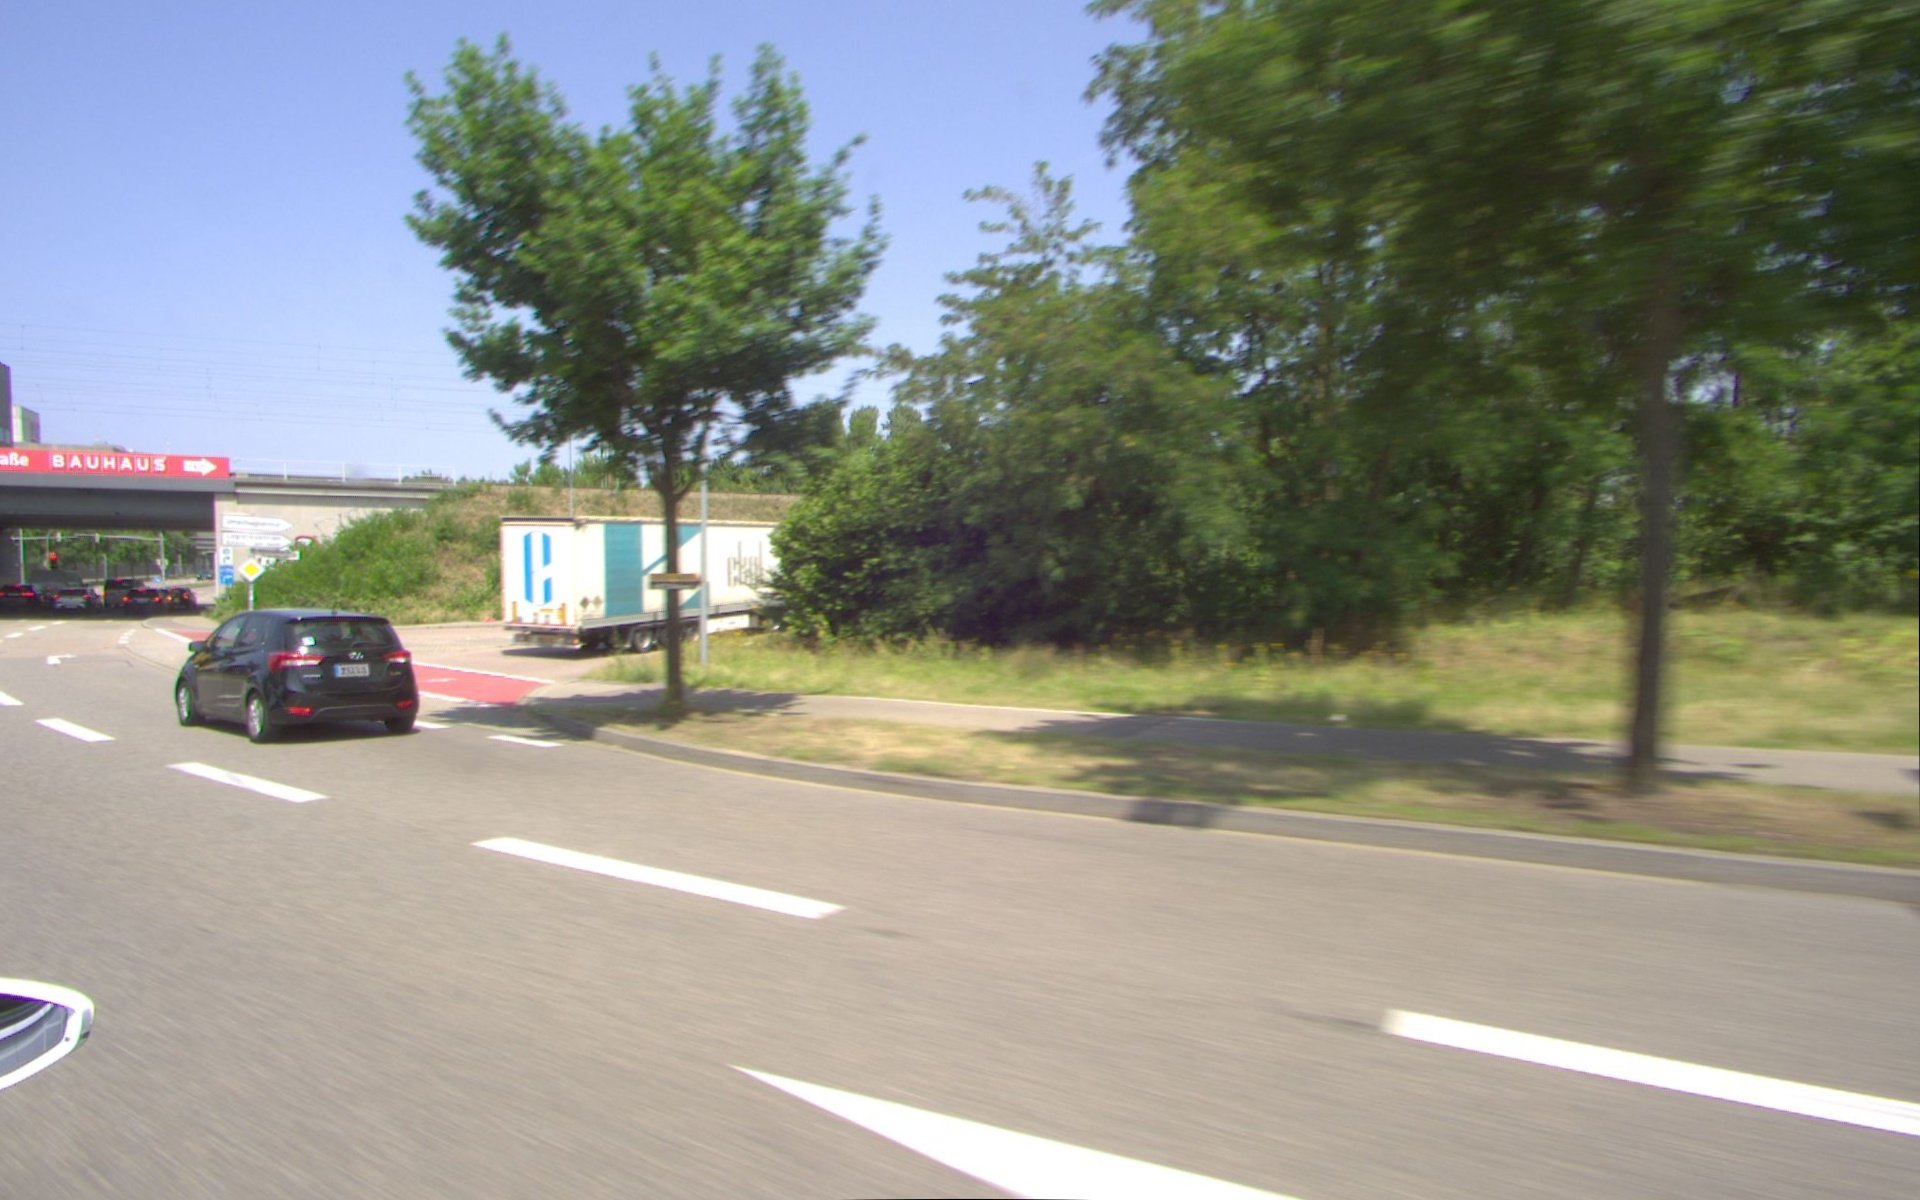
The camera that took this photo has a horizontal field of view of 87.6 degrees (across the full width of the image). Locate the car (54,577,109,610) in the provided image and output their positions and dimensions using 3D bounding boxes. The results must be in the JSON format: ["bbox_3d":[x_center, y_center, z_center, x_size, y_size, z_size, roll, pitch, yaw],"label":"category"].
[{"bbox_3d":[-52.339,-0.365,59.718,1.821,1.915,3.976,0,0,-32],"label":"car"}]

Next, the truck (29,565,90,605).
[{"bbox_3d":[-59.852,-0.963,66.622,2.043,2.572,3.980,-2,1,-28],"label":"truck"}]

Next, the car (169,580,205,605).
[{"bbox_3d":[-61.069,-0.604,79.141,1.821,1.915,3.976,0,0,-32],"label":"car"}]

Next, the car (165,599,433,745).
[{"bbox_3d":[-8.841,0.847,13.284,4.025,1.620,1.761,1,-1,38],"label":"car"}]

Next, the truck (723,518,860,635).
[{"bbox_3d":[-6.855,-0.990,41.637,3.031,4.429,6.064,2,2,19],"label":"truck"}]

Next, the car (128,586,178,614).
[{"bbox_3d":[-47.845,-0.008,59.436,1.821,1.589,3.976,0,0,-32],"label":"car"}]

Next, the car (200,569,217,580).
[{"bbox_3d":[-118.722,-4.051,158.225,1.835,1.644,3.976,0,0,-32],"label":"car"}]

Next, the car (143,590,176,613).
[{"bbox_3d":[-73.687,0.106,92.216,1.974,2.040,3.974,1,-1,-33],"label":"car"}]

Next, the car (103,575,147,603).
[{"bbox_3d":[-58.188,-0.746,69.861,1.821,1.915,3.976,0,0,-32],"label":"car"}]

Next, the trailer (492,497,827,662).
[{"bbox_3d":[-9.264,-0.755,34.411,3.033,4.429,14.740,2,2,19],"label":"trailer"}]

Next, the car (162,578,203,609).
[{"bbox_3d":[-53.793,-0.465,69.376,1.974,2.041,3.972,-3,2,-35],"label":"car"}]

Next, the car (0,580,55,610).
[{"bbox_3d":[-56.099,-0.295,60.142,1.920,1.744,3.976,0,0,-32],"label":"car"}]

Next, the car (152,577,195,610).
[{"bbox_3d":[-50.927,-0.426,64.936,1.715,2.041,3.775,-3,2,-32],"label":"car"}]
